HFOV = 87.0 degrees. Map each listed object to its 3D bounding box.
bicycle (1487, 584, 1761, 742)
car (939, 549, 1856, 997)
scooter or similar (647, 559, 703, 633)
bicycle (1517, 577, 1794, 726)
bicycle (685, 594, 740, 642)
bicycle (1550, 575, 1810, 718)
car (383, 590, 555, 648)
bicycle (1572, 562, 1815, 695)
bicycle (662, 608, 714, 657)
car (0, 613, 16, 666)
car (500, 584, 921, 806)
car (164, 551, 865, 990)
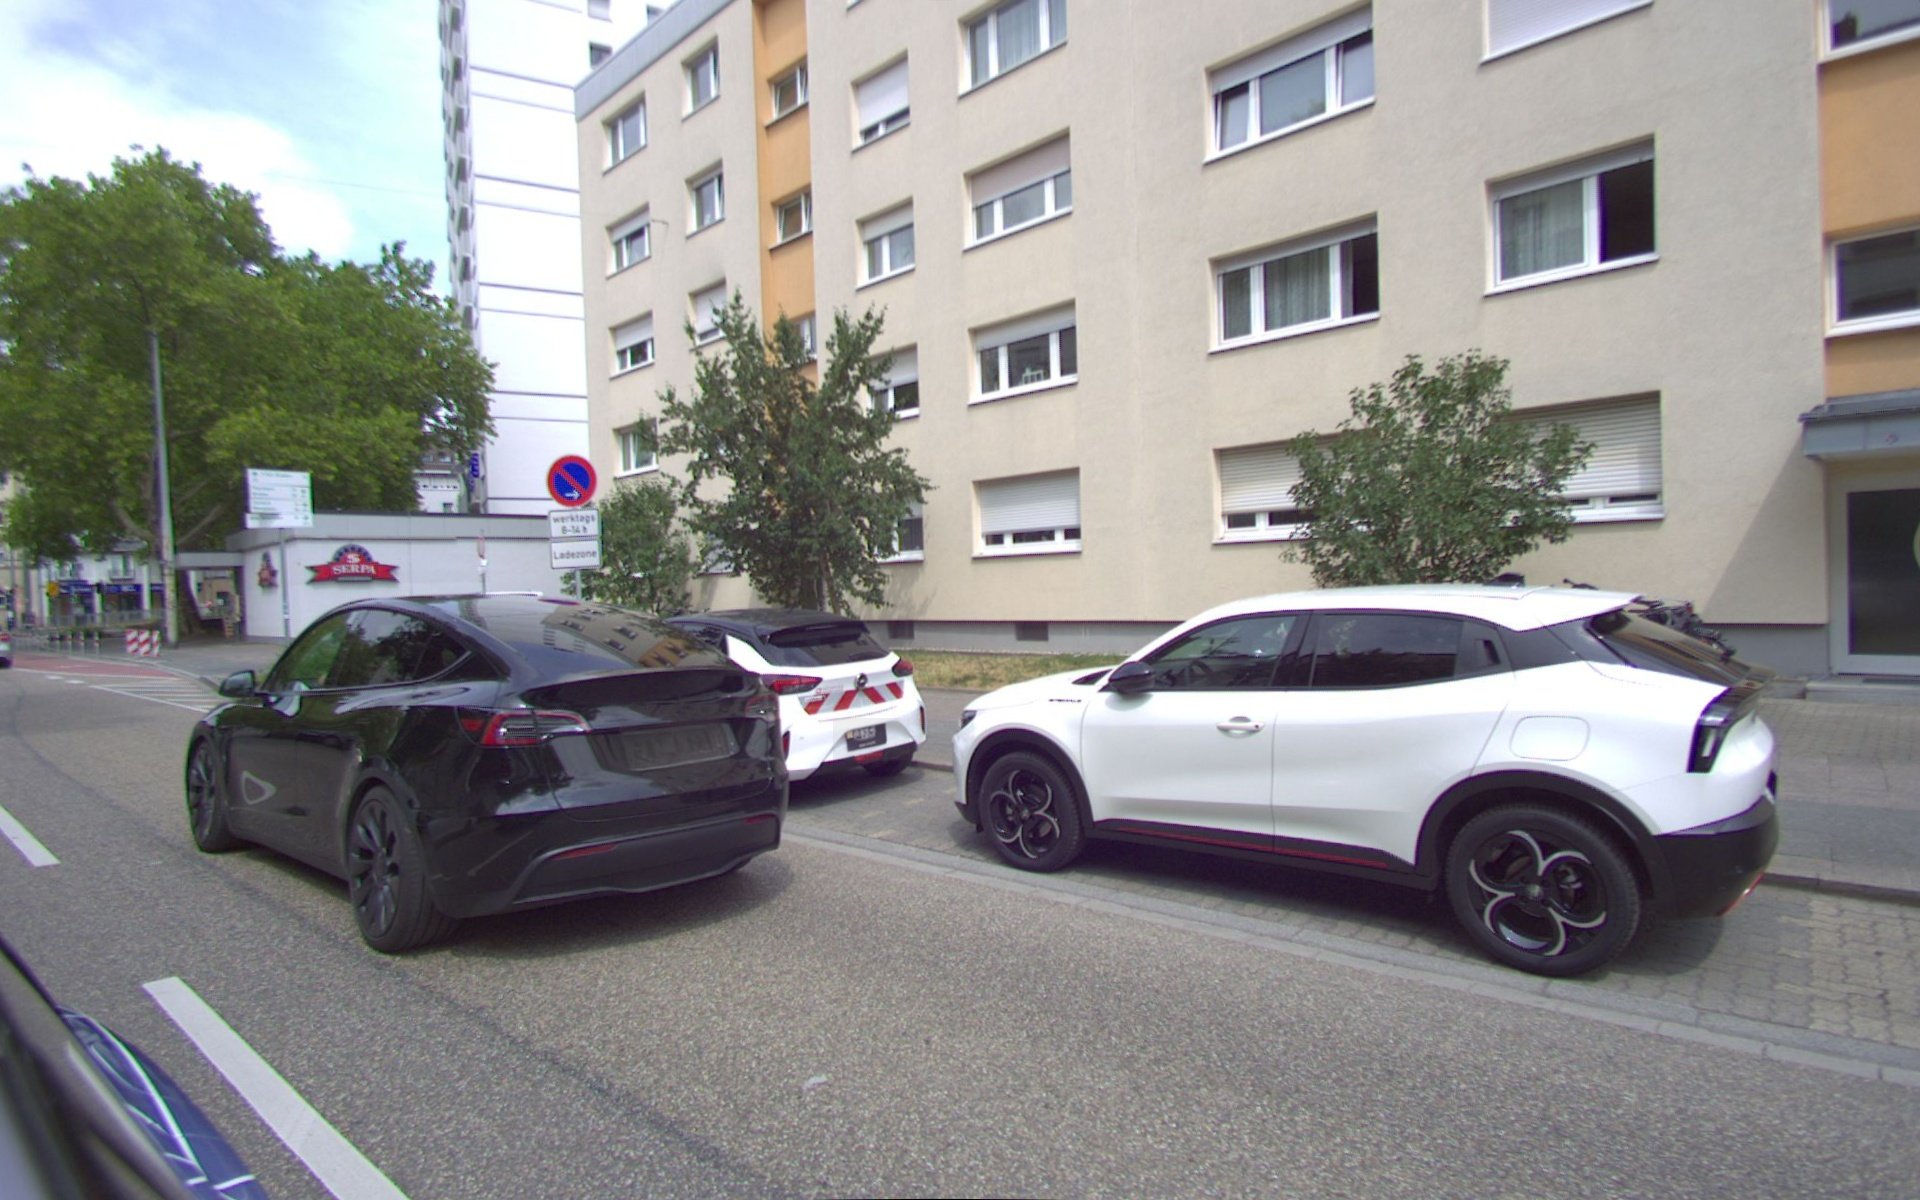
[{"bbox_3d":[5.882,0.531,9.080,0.571,1.260,1.937,-2,0,-38],"label":"bicycle"},{"bbox_3d":[1.973,0.584,5.315,3.985,1.484,1.692,-1,2,39],"label":"car"},{"bbox_3d":[-4.843,-0.072,17.151,0.396,1.202,1.292,-4,2,-38],"label":"scooter or similar"},{"bbox_3d":[6.474,0.459,9.547,0.529,1.260,2.048,-2,0,-38],"label":"bicycle"},{"bbox_3d":[-5.720,0.407,23.323,0.406,1.045,1.807,-2,1,-42],"label":"bicycle"},{"bbox_3d":[7.005,0.435,9.948,0.556,1.260,1.966,-2,0,-38],"label":"bicycle"},{"bbox_3d":[-15.538,0.555,32.162,4.576,1.699,1.851,-1,-1,-43],"label":"car"},{"bbox_3d":[7.523,0.289,10.474,0.549,1.260,1.920,-2,0,-41],"label":"bicycle"},{"bbox_3d":[-6.193,0.717,22.990,0.406,1.045,1.808,-2,1,-40],"label":"bicycle"},{"bbox_3d":[-28.802,1.147,28.688,4.167,1.461,1.831,-1,-1,29],"label":"car"},{"bbox_3d":[-2.382,0.685,9.069,3.989,1.484,1.690,-1,2,43],"label":"car"},{"bbox_3d":[-2.827,0.637,5.801,4.611,1.532,1.931,-1,-1,41],"label":"car"}]
